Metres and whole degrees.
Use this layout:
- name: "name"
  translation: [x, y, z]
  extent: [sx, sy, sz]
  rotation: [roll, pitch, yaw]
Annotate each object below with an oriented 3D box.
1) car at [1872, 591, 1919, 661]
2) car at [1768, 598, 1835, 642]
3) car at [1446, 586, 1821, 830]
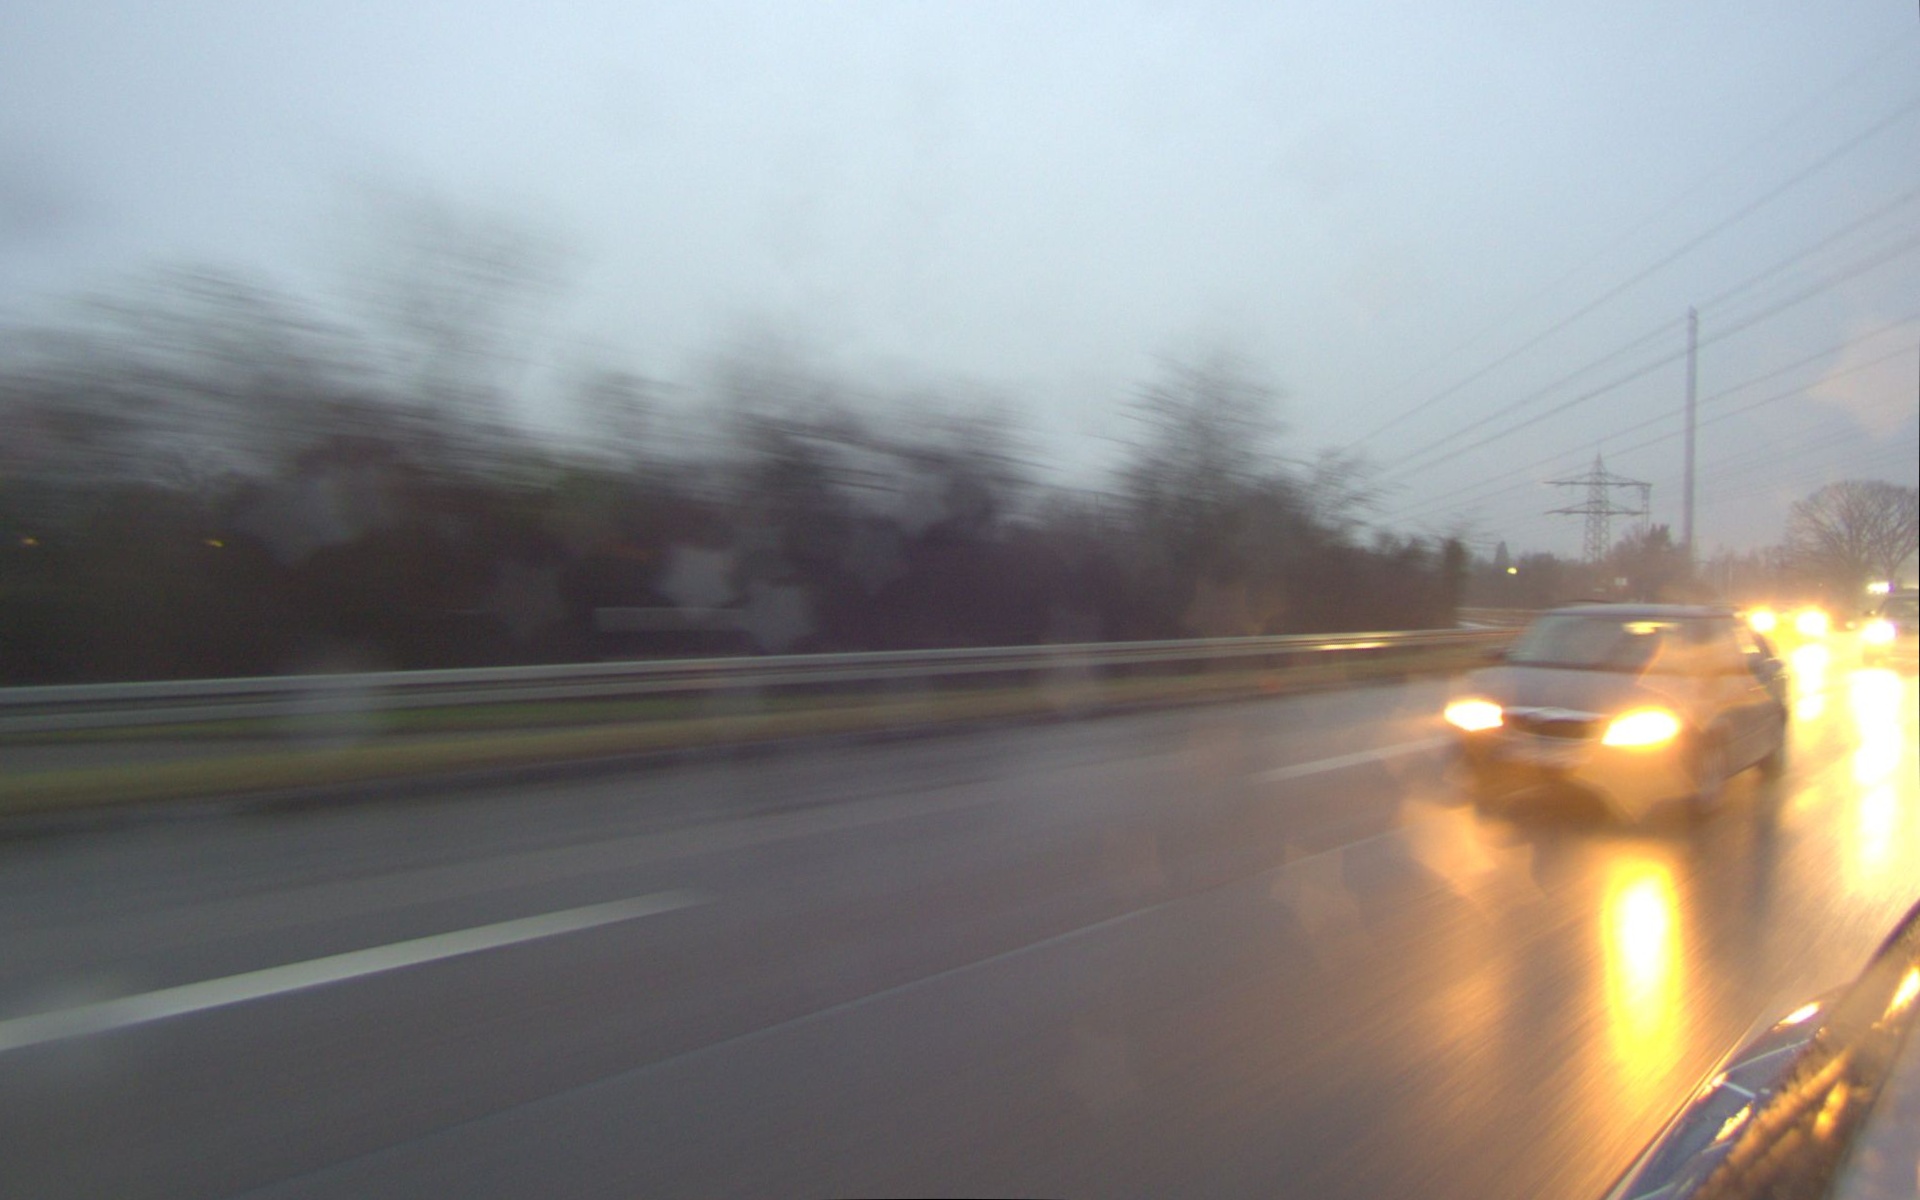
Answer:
- name: "car"
  translation: [22.552, 0.578, 23.426]
  extent: [3.742, 1.528, 1.681]
  rotation: [0, 1, -41]
- name: "car"
  translation: [30.489, 0.682, 36.634]
  extent: [1.786, 1.452, 3.763]
  rotation: [1, 1, 41]
- name: "car"
  translation: [5.467, 0.657, 8.066]
  extent: [3.531, 1.509, 1.597]
  rotation: [0, 1, -41]
